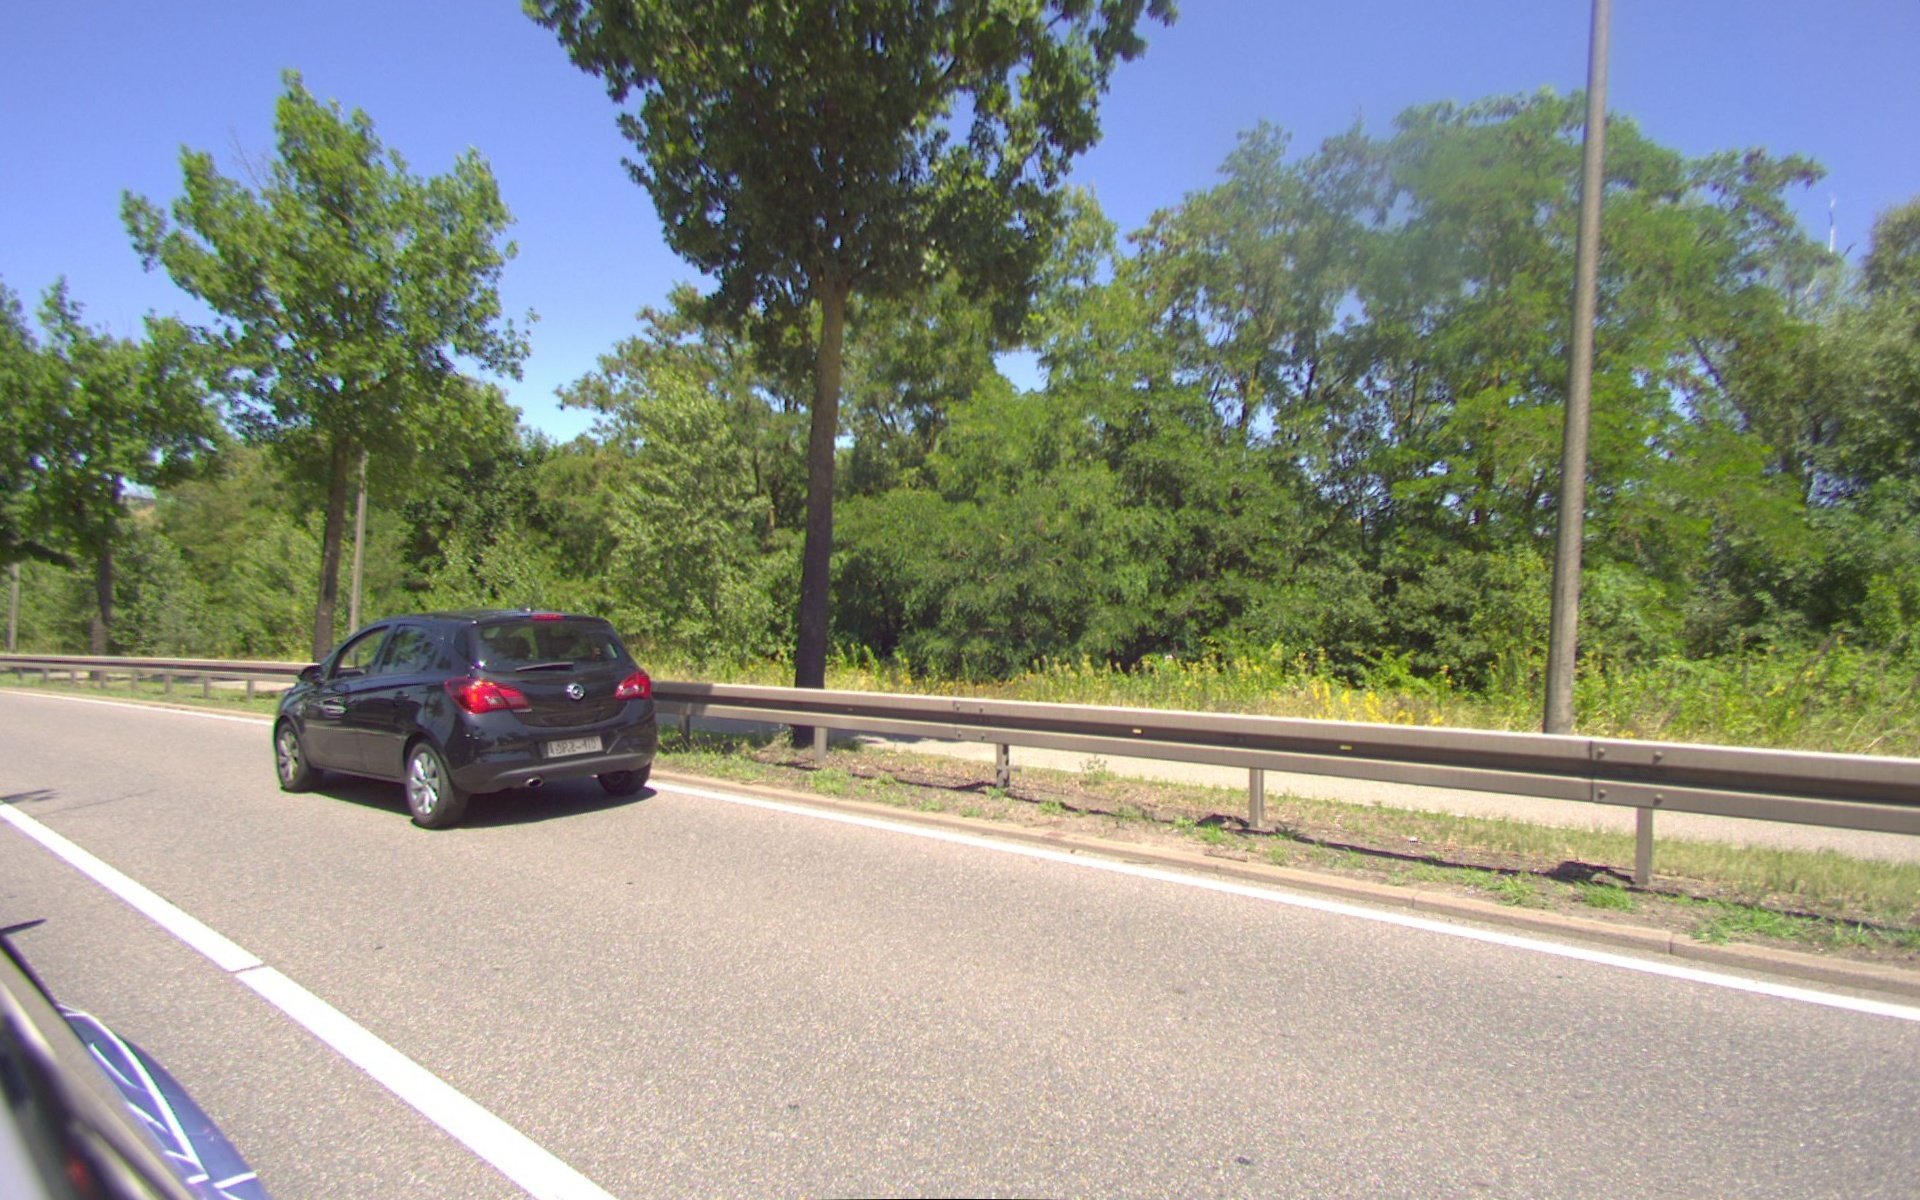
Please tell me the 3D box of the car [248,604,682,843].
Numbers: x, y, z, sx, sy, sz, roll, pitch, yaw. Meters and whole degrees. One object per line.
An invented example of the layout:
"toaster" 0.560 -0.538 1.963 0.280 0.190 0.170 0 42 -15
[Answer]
"car" -4.095 0.799 8.141 3.815 1.477 1.655 -1 0 38
